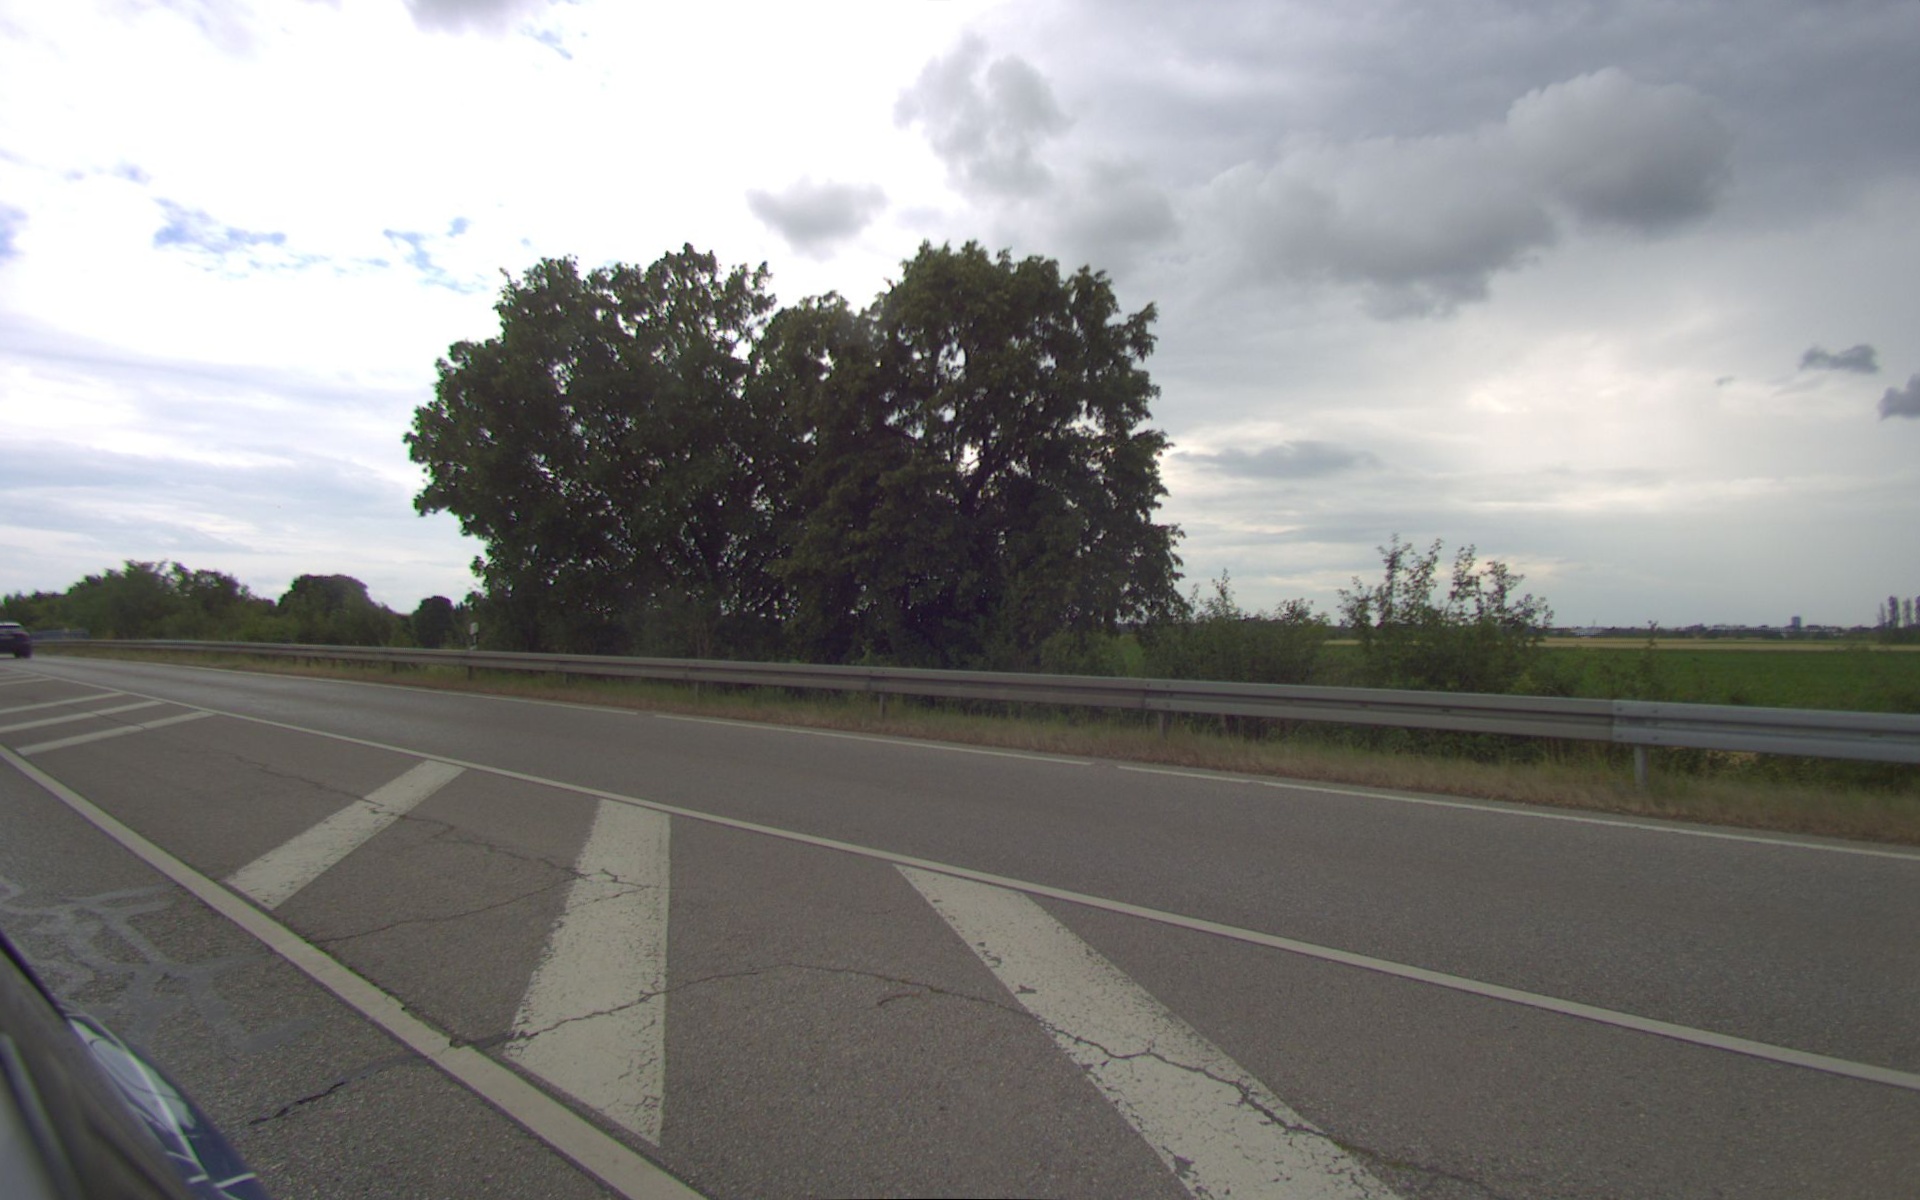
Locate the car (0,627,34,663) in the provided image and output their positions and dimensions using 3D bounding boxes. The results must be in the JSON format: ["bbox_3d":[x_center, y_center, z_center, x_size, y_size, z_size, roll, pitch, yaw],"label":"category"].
[{"bbox_3d":[-43.035,2.002,45.358,4.033,1.558,1.811,-1,-1,41],"label":"car"}]
